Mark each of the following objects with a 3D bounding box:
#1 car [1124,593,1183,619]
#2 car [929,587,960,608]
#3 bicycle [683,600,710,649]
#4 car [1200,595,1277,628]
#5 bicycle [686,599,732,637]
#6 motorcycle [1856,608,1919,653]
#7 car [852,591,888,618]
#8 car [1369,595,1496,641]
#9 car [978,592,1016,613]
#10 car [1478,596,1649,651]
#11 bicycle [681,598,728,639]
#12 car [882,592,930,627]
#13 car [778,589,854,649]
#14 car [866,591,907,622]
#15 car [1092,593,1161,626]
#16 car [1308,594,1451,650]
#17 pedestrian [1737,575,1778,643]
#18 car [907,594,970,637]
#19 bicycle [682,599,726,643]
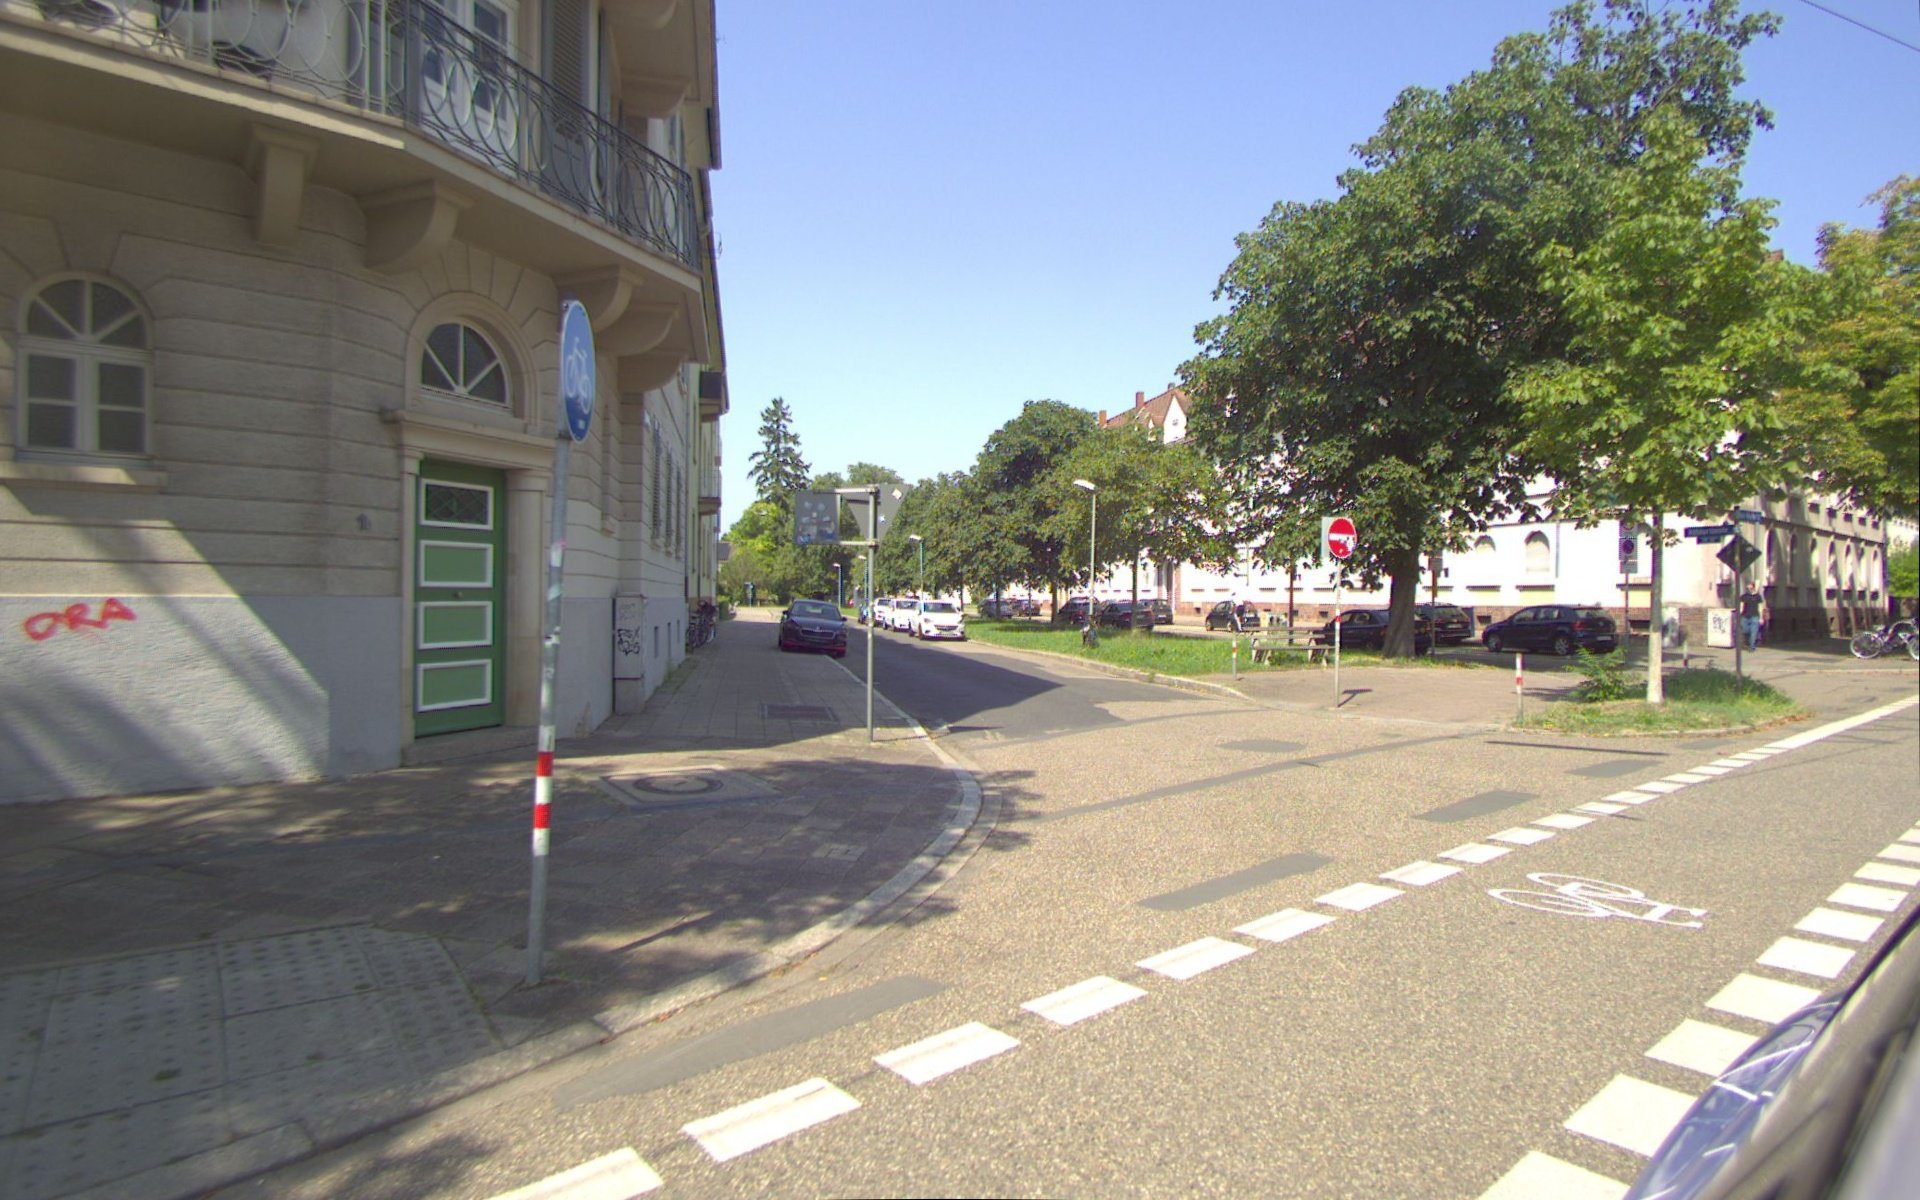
[{"bbox_3d":[11.178,0.331,58.710,1.934,1.457,4.008,0,1,-12],"label":"car"},{"bbox_3d":[-1.356,-0.250,89.155,2.001,1.758,4.008,0,1,-12],"label":"car"},{"bbox_3d":[-6.473,0.573,24.912,0.446,1.130,2.216,0,0,-10],"label":"bicycle"},{"bbox_3d":[13.263,0.518,48.423,1.934,1.457,4.008,0,1,-12],"label":"car"},{"bbox_3d":[-7.782,0.535,31.510,0.449,1.130,2.204,0,0,12],"label":"bicycle"},{"bbox_3d":[23.965,0.782,25.453,0.782,1.027,2.000,0,3,-39],"label":"motorcycle"},{"bbox_3d":[-5.162,0.224,57.448,1.565,1.497,4.008,0,1,-12],"label":"car"},{"bbox_3d":[16.159,0.583,34.841,1.934,1.457,4.008,0,1,-12],"label":"car"},{"bbox_3d":[2.581,0.154,72.165,1.799,1.448,4.008,0,1,-12],"label":"car"},{"bbox_3d":[17.346,0.624,29.329,1.934,1.461,4.008,0,1,-16],"label":"car"},{"bbox_3d":[-7.451,0.526,29.577,0.449,1.130,2.205,0,0,11],"label":"bicycle"},{"bbox_3d":[-2.457,0.382,45.491,1.565,1.497,4.008,0,1,-12],"label":"car"},{"bbox_3d":[-4.141,0.470,28.650,1.842,1.560,4.337,0,1,-12],"label":"car"},{"bbox_3d":[-3.790,0.315,51.440,1.565,1.497,4.008,0,1,-12],"label":"car"},{"bbox_3d":[7.767,0.410,47.619,1.799,1.448,4.286,0,1,-12],"label":"car"},{"bbox_3d":[11.833,0.568,28.823,1.799,1.448,4.008,0,1,-12],"label":"car"},{"bbox_3d":[21.509,0.236,27.308,0.620,1.808,0.749,0,0,-38],"label":"pedestrian"},{"bbox_3d":[-0.874,0.539,38.301,1.653,1.497,4.008,0,1,-12],"label":"car"},{"bbox_3d":[-7.061,0.562,28.046,0.448,1.130,2.209,0,0,6],"label":"bicycle"}]
